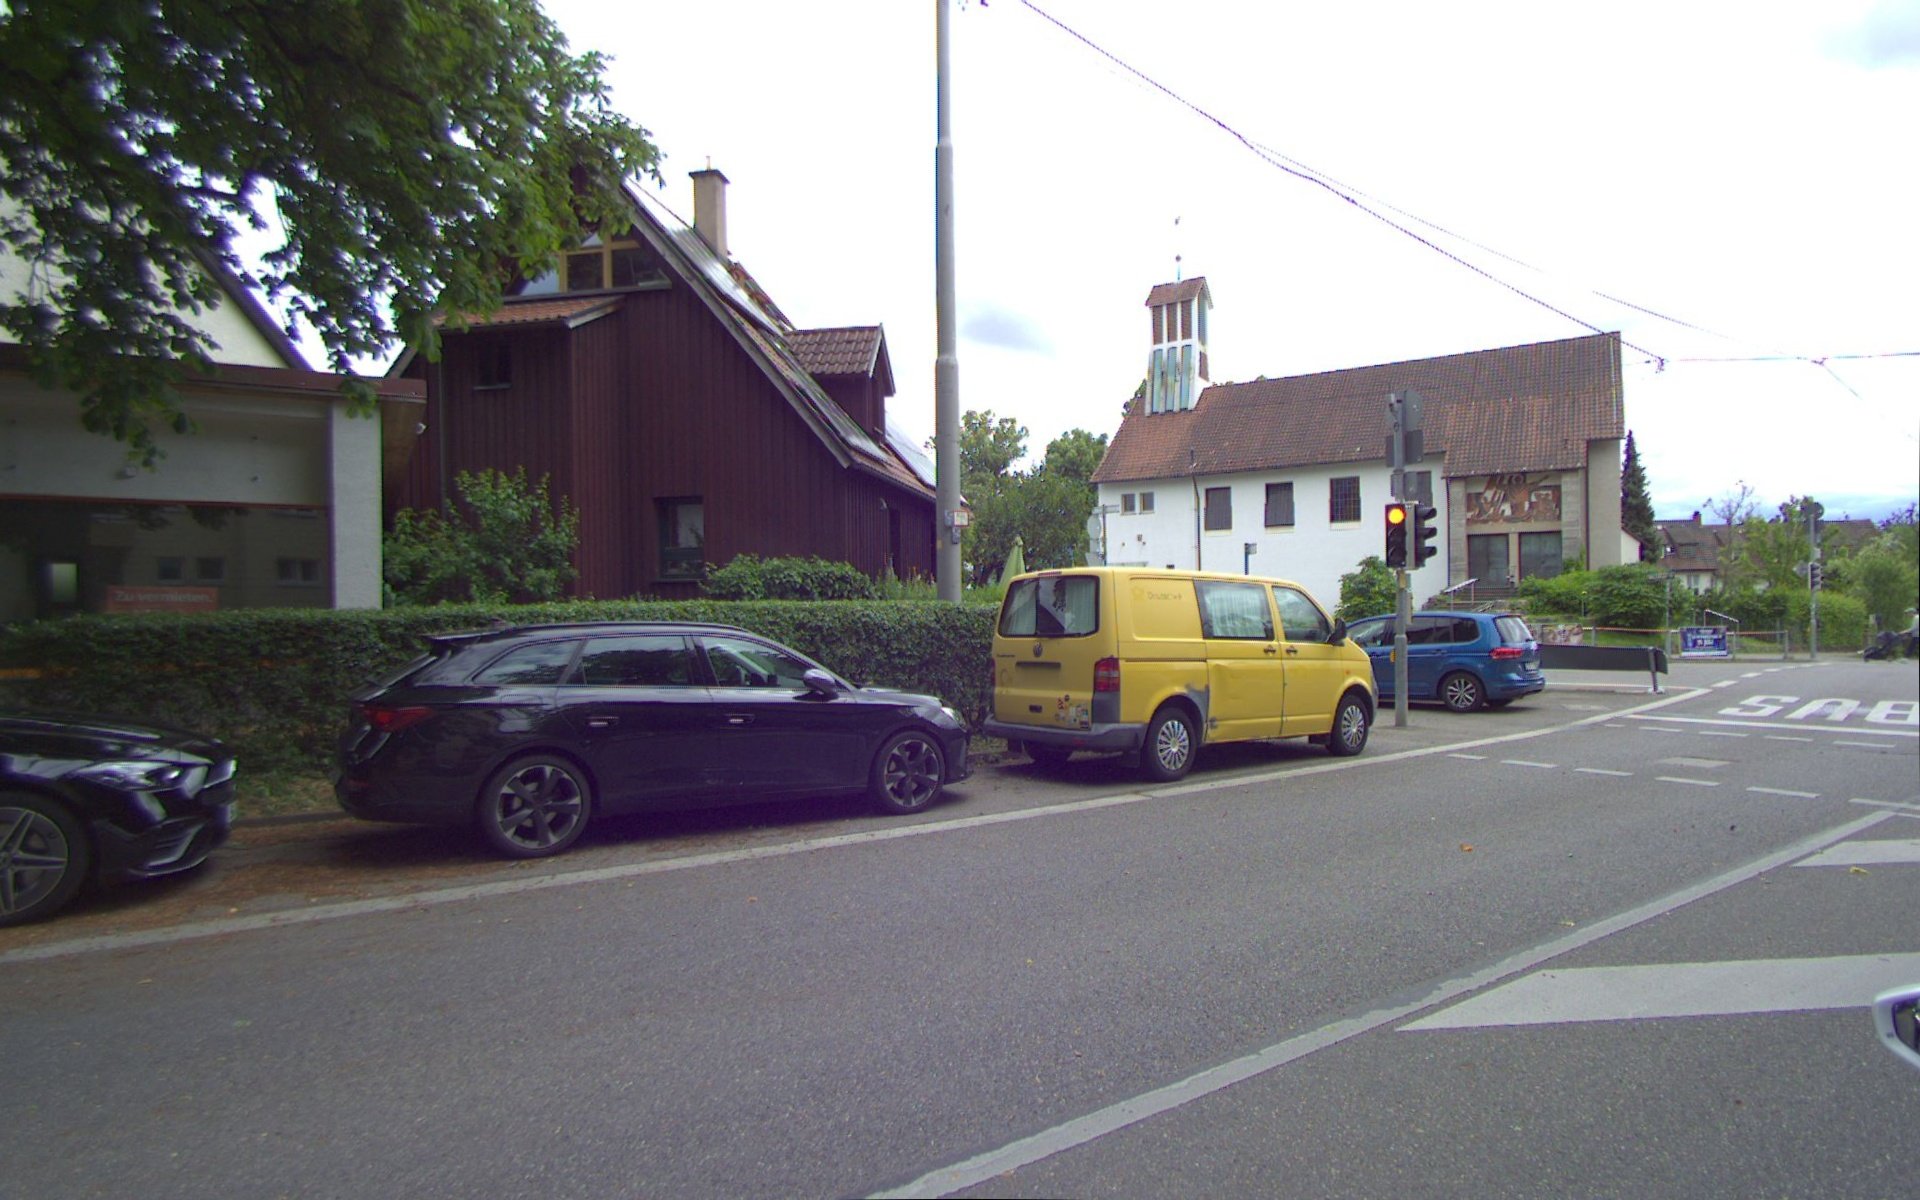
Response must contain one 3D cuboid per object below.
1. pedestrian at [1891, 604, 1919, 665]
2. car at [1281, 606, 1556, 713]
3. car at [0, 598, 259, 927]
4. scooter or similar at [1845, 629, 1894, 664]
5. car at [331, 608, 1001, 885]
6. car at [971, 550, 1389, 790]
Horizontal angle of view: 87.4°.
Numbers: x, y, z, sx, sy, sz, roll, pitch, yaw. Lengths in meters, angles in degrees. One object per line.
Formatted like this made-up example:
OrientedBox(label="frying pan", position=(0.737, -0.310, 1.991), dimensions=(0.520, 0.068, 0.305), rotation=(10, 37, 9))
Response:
OrientedBox(label="pedestrian", position=(29.877, 1.089, 31.518), dimensions=(0.872, 1.887, 0.572), rotation=(-1, -1, 36))
OrientedBox(label="car", position=(7.815, 0.990, 17.364), dimensions=(1.806, 1.632, 3.948), rotation=(1, -3, -44))
OrientedBox(label="car", position=(-6.212, 0.763, 4.754), dimensions=(4.561, 1.520, 1.984), rotation=(1, -2, -31))
OrientedBox(label="scooter or similar", position=(29.087, 1.484, 32.139), dimensions=(1.093, 1.095, 0.575), rotation=(-1, -1, 37))
OrientedBox(label="car", position=(-1.995, 0.845, 7.438), dimensions=(4.494, 1.505, 1.681), rotation=(1, -2, -34))
OrientedBox(label="car", position=(2.462, 0.646, 10.682), dimensions=(4.523, 2.040, 1.870), rotation=(1, -2, -37))
